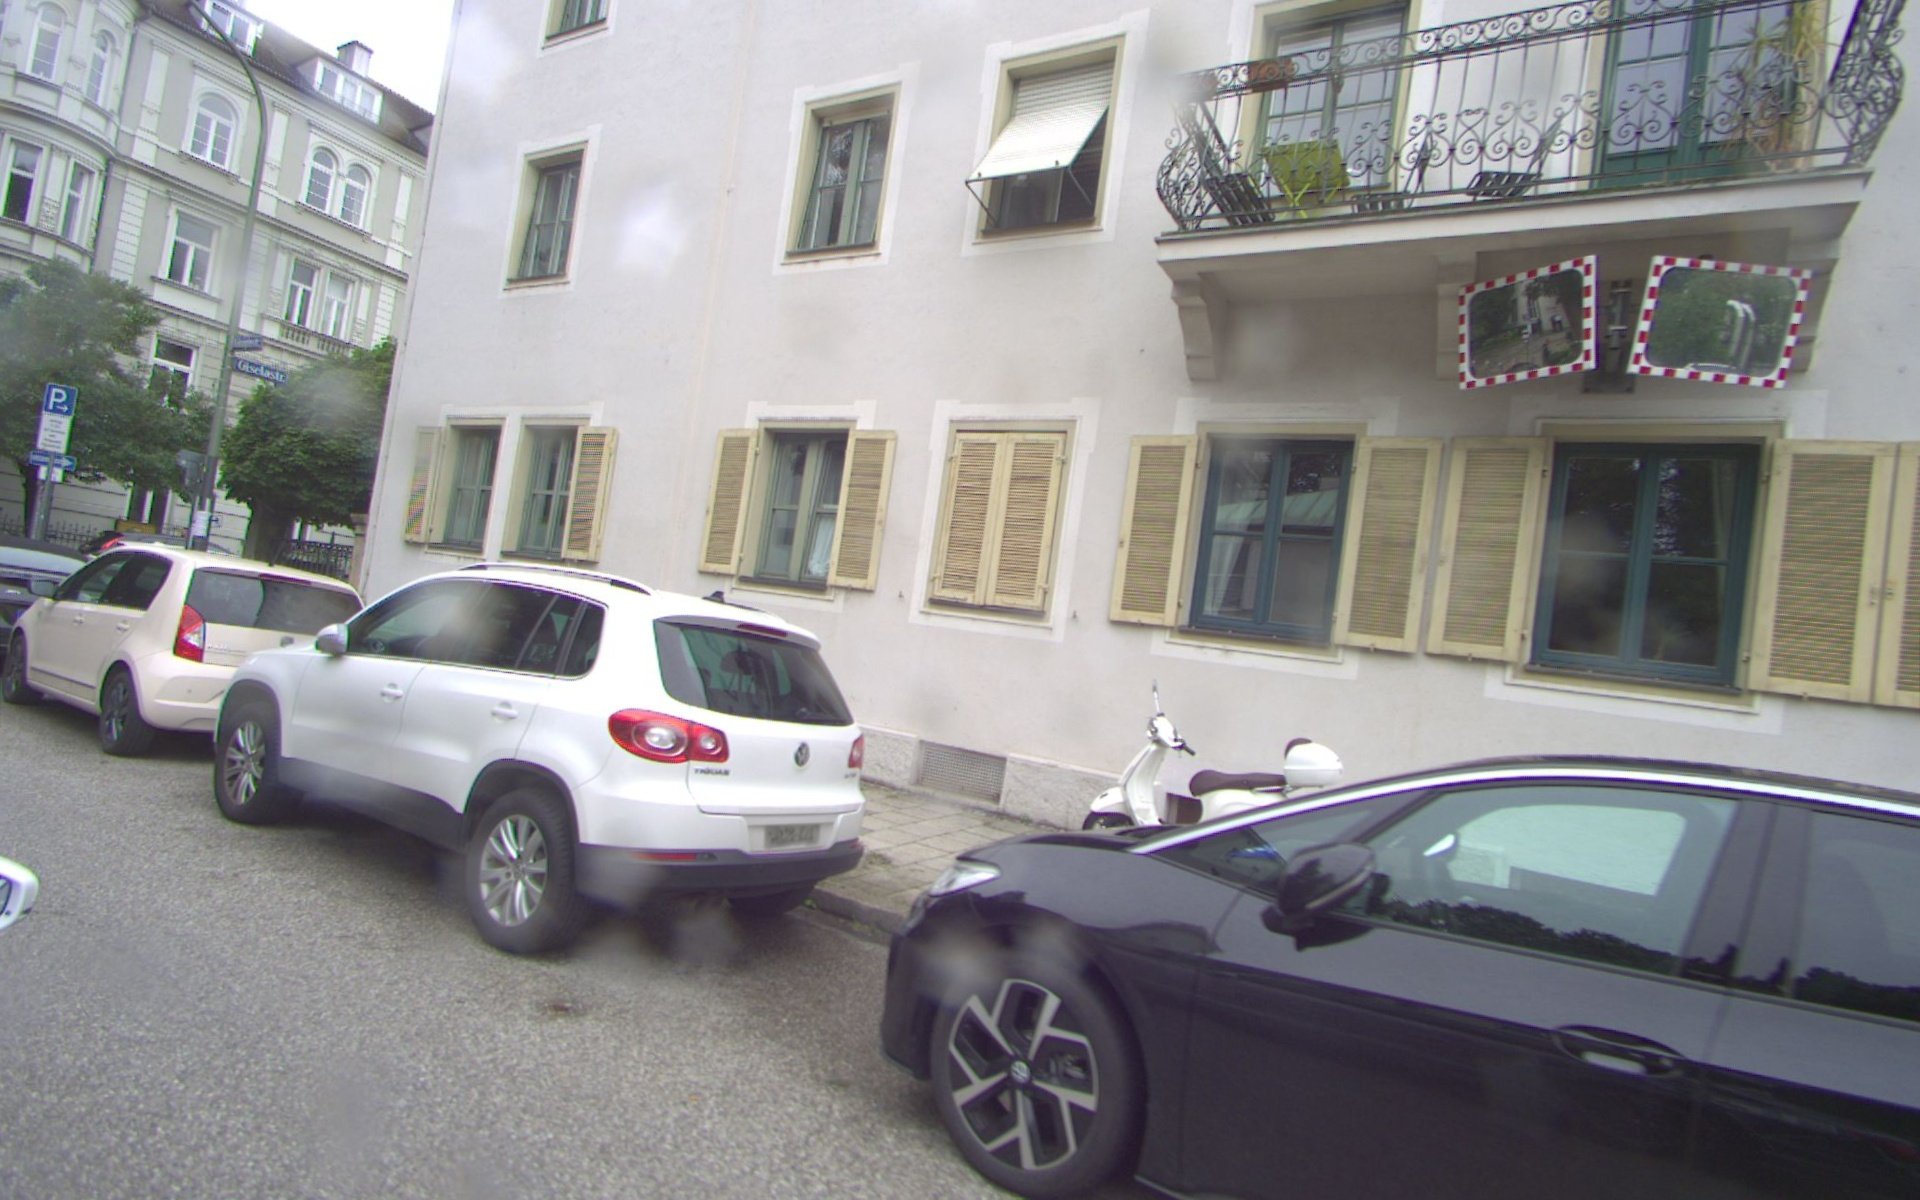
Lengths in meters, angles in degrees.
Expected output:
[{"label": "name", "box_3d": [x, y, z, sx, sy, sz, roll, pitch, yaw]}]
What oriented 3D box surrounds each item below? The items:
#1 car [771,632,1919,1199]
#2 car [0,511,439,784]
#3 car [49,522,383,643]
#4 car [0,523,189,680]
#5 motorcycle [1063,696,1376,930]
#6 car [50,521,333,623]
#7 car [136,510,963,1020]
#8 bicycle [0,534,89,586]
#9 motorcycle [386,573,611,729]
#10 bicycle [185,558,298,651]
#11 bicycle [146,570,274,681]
[{"label": "car", "box_3d": [1.779, 1.182, 2.884, 4.343, 1.548, 1.842, 6, -3, 33]}, {"label": "car", "box_3d": [-6.303, 0.341, 8.308, 3.652, 1.559, 1.779, 6, -8, 34]}, {"label": "car", "box_3d": [-14.654, -0.252, 20.170, 1.881, 1.548, 4.919, 9, -2, 31]}, {"label": "car", "box_3d": [-10.443, -0.138, 10.689, 4.519, 1.335, 2.003, 6, -1, 31]}, {"label": "motorcycle", "box_3d": [1.880, 1.491, 7.387, 1.974, 1.252, 0.735, 6, -4, 31]}, {"label": "car", "box_3d": [-18.570, -0.590, 24.632, 1.912, 1.668, 5.053, 2, -6, 31]}, {"label": "car", "box_3d": [-2.497, 0.670, 5.838, 4.459, 1.723, 2.001, 6, -5, 32]}, {"label": "bicycle", "box_3d": [-23.628, -1.038, 25.677, 0.548, 1.039, 1.925, 8, -3, 36]}, {"label": "motorcycle", "box_3d": [-5.466, 0.574, 11.851, 2.661, 1.449, 0.859, 7, -3, 30]}, {"label": "bicycle", "box_3d": [-11.212, 0.059, 15.695, 1.745, 1.239, 0.544, 6, -2, 26]}, {"label": "bicycle", "box_3d": [-8.949, 0.281, 11.970, 1.910, 1.075, 0.663, 6, -3, 39]}]
